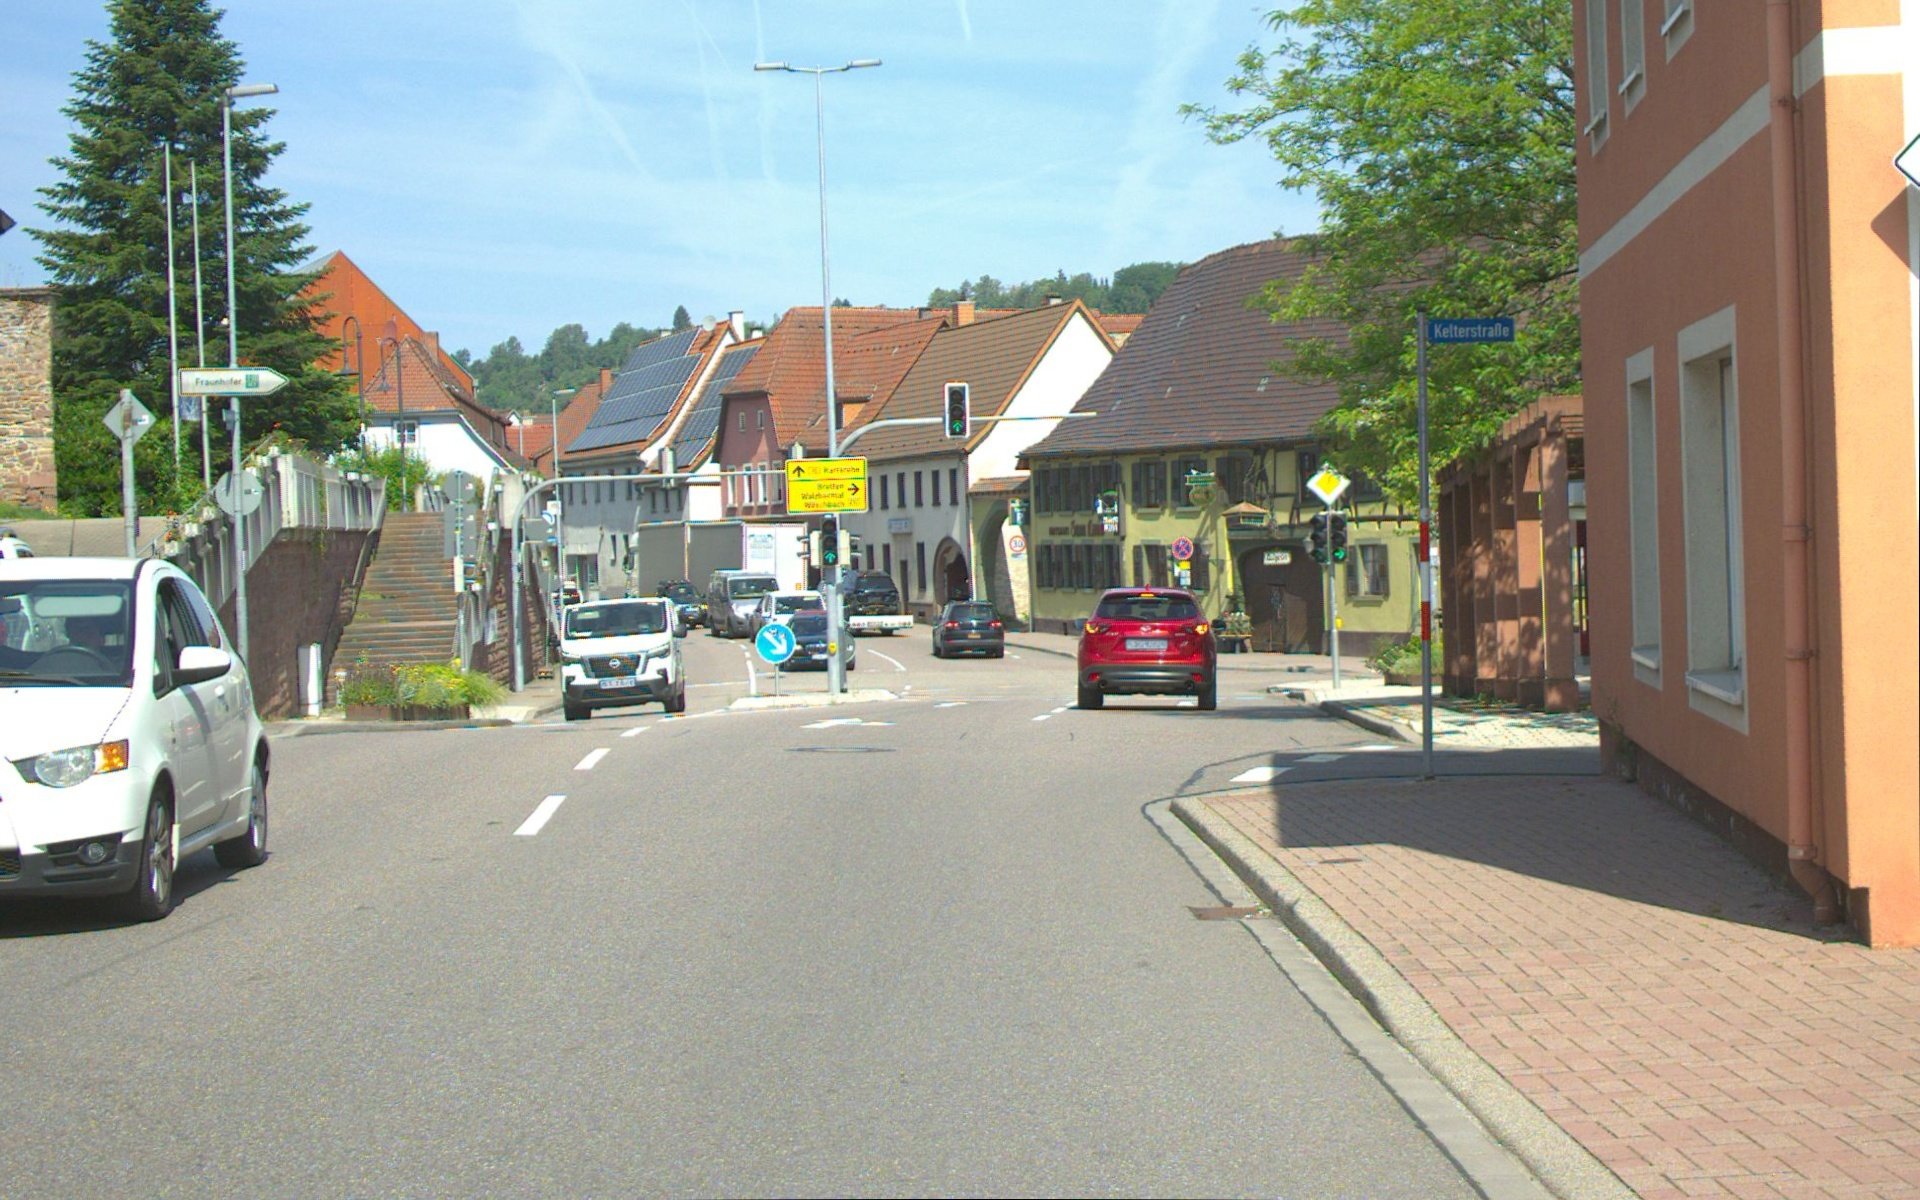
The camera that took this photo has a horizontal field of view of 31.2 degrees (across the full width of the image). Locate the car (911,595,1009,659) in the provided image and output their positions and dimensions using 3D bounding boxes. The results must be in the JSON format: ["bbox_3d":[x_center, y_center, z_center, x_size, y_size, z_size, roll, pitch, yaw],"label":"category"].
[{"bbox_3d":[-0.016,0.761,100.449,1.820,1.733,4.006,-2,1,-15],"label":"car"}]

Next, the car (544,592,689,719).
[{"bbox_3d":[-5.702,0.884,57.653,1.968,1.926,5.314,-2,0,-2],"label":"car"}]

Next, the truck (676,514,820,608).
[{"bbox_3d":[-8.399,-1.522,134.867,3.222,3.537,9.233,1,0,-19],"label":"truck"}]

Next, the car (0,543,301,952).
[{"bbox_3d":[-4.100,0.552,15.006,1.729,1.537,3.812,-2,1,-1],"label":"car"}]

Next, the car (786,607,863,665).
[{"bbox_3d":[-3.656,0.956,93.324,1.820,1.429,4.248,-1,1,1],"label":"car"}]

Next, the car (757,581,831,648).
[{"bbox_3d":[-5.145,0.409,105.813,1.820,1.900,4.965,-1,1,-8],"label":"car"}]

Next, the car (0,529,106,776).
[{"bbox_3d":[-8.089,0.322,27.145,1.804,1.792,5.287,2,1,-6],"label":"car"}]

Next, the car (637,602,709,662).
[{"bbox_3d":[-11.075,1.222,132.447,1.757,2.238,4.554,1,0,-17],"label":"car"}]

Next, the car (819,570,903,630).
[{"bbox_3d":[-3.444,-0.002,118.989,1.846,2.007,4.001,1,0,-18],"label":"car"}]

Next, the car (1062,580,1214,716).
[{"bbox_3d":[2.455,0.619,46.683,1.805,1.657,3.811,-2,1,6],"label":"car"}]

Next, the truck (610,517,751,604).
[{"bbox_3d":[-11.837,-1.578,144.279,3.158,3.448,10.715,1,0,-20],"label":"truck"}]
